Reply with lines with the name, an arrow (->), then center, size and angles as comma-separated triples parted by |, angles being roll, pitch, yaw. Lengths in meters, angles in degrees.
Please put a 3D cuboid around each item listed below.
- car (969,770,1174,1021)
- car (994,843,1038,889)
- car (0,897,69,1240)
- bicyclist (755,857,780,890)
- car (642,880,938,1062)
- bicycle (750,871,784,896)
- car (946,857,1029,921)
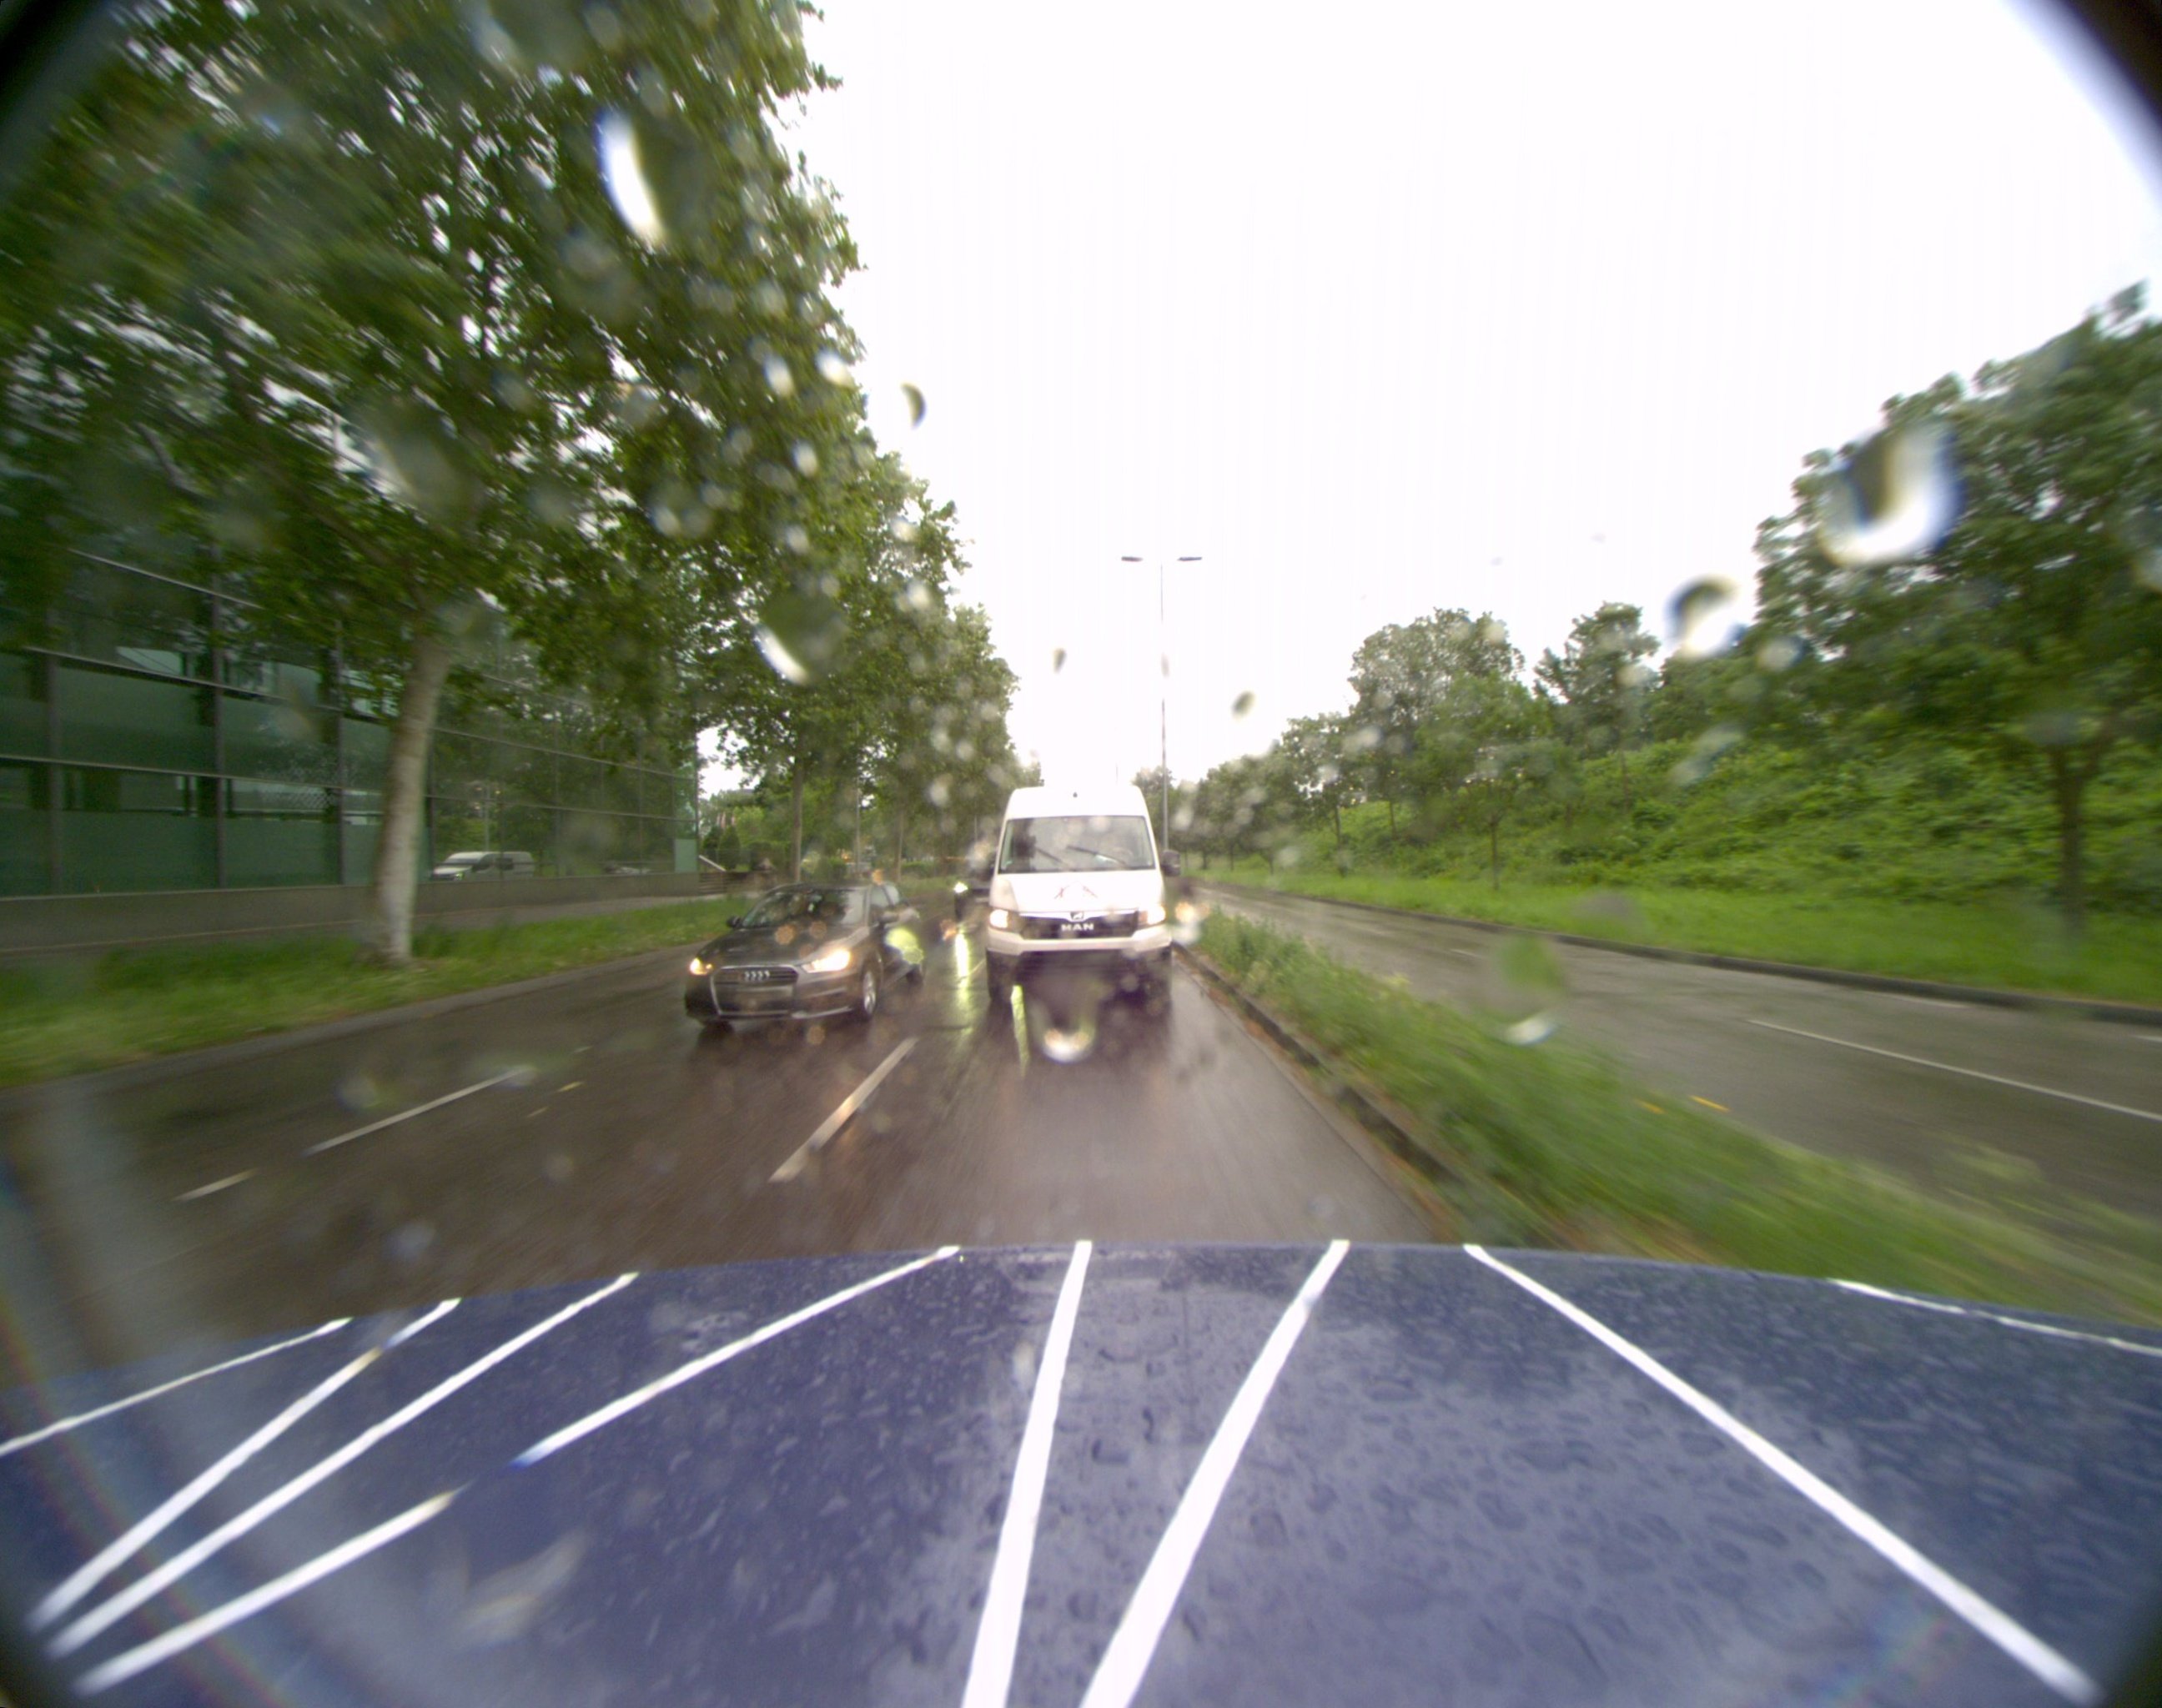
car -> -0.020, 0.398, 10.348 | 1.968, 2.419, 5.962 | -1, 0, 1
car -> -3.546, 0.619, 42.300 | 1.998, 2.416, 4.977 | -1, 0, 0
car -> -6.118, 1.041, 1.773 | 1.905, 1.622, 4.169 | -1, 0, 0
bicyclist -> -14.600, 0.899, 35.389 | 0.807, 1.506, 0.752 | 2, 1, -3
car -> -2.902, 1.094, 8.549 | 1.841, 1.390, 3.753 | -2, 0, 0
bicycle -> -14.626, 1.359, 35.430 | 0.745, 1.098, 2.076 | 1, 0, -2
car -> -2.748, 0.979, 23.359 | 1.998, 1.738, 4.327 | -1, 0, 0
